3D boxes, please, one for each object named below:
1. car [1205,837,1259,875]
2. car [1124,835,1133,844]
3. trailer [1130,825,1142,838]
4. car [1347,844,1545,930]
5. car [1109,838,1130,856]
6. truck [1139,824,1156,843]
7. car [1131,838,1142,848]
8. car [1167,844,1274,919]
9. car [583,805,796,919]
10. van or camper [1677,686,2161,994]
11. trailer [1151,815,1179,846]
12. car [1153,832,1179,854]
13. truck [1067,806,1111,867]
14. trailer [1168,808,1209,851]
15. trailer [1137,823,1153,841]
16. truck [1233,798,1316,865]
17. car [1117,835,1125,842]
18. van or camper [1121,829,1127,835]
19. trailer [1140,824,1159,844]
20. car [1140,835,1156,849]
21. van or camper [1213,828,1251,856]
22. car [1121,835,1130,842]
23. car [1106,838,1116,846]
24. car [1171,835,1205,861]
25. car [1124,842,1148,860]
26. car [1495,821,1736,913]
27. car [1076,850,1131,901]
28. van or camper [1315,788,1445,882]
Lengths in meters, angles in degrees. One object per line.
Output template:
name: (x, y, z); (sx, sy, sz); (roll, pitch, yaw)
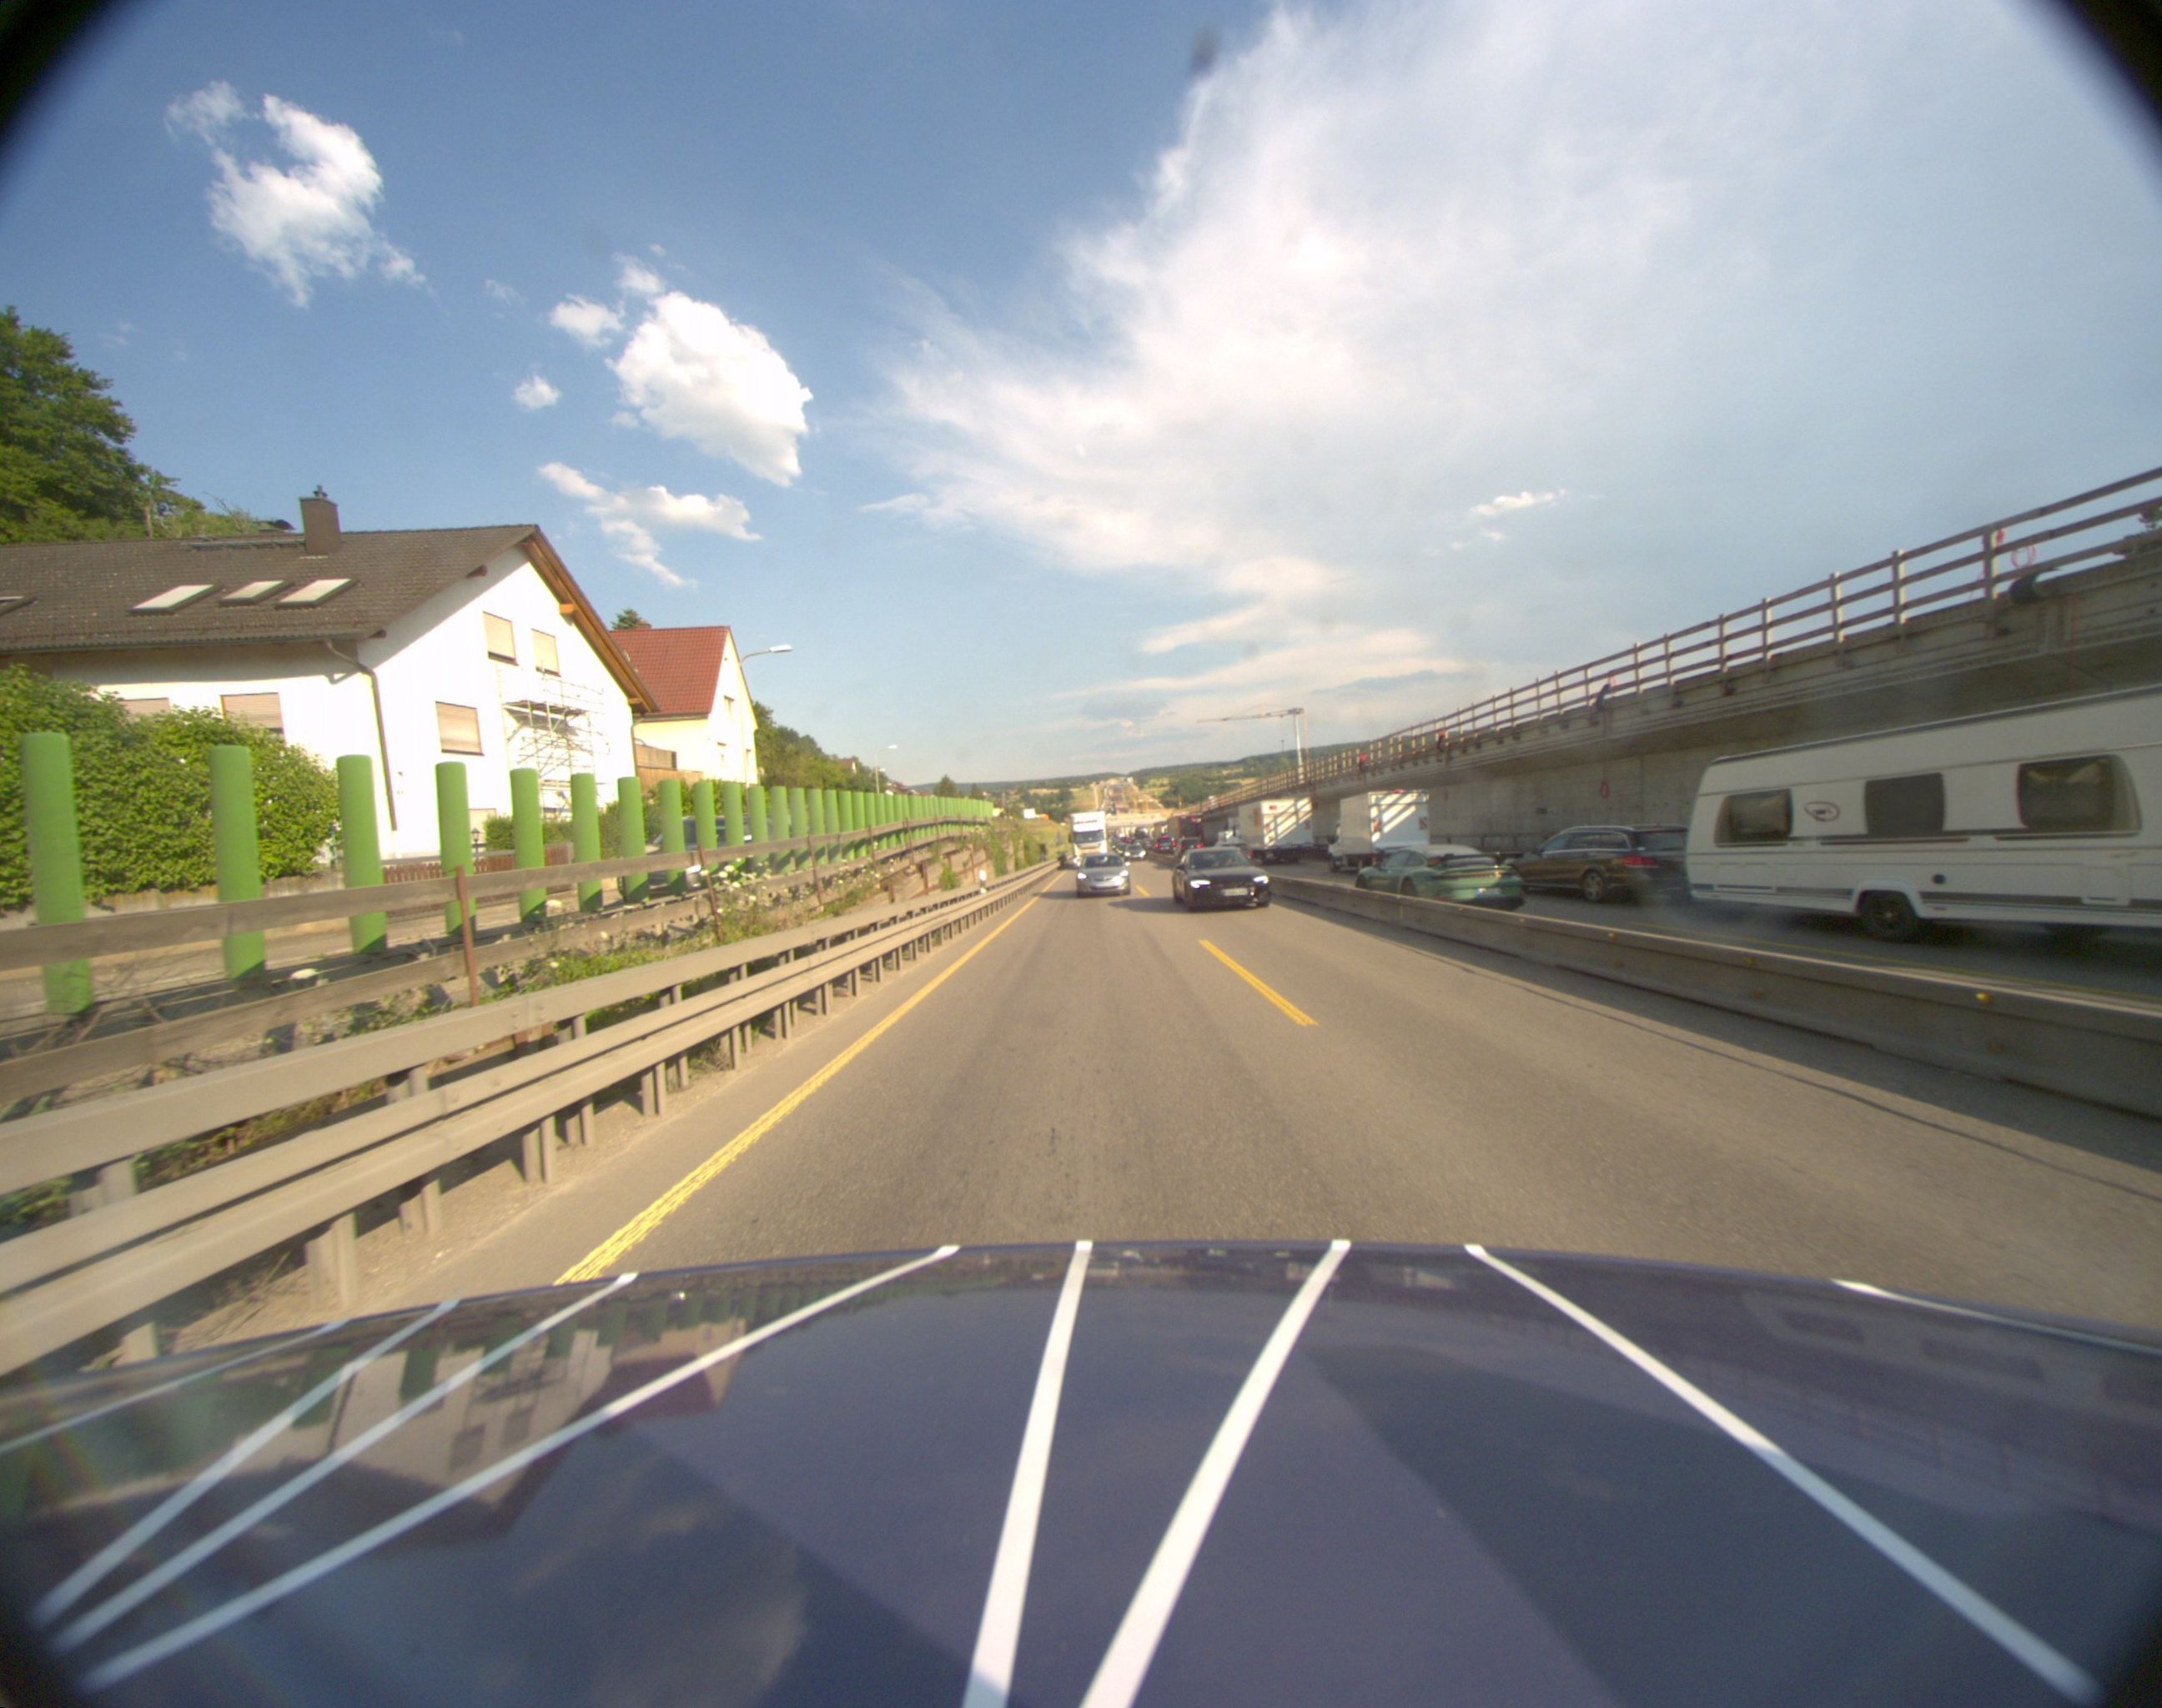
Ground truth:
car: (7.394, 0.046, 37.629); (1.746, 1.587, 4.556); (-5, 2, 1)
car: (9.467, -2.833, 151.472); (1.645, 1.636, 4.687); (-5, 2, 1)
trailer: (16.812, -6.932, 234.147); (2.659, 3.829, 13.439); (-5, 2, 2)
car: (6.795, 0.519, 14.709); (1.785, 1.317, 4.239); (-3, 1, 1)
car: (4.235, -0.792, 84.096); (1.998, 1.740, 3.999); (-4, 1, 0)
truck: (12.985, -4.010, 148.638); (2.555, 3.390, 5.530); (-5, 2, 2)
car: (9.600, -1.952, 131.263); (1.645, 1.451, 4.595); (-5, 2, 2)
car: (3.288, 0.574, 18.690); (1.872, 1.411, 4.348); (-4, 2, 2)
car: (-7.530, 0.112, 15.197); (1.887, 1.802, 4.246); (-5, 1, 0)
van or camper: (10.496, -0.206, 8.726); (2.317, 2.647, 6.454); (-2, 1, 2)
trailer: (12.617, -3.471, 114.887); (2.771, 4.117, 14.024); (-5, 1, 2)
car: (8.421, -1.126, 75.986); (1.990, 1.911, 5.290); (-5, 1, 1)
truck: (0.833, -1.447, 59.049); (2.741, 4.034, 12.668); (-5, 2, 2)
trailer: (11.960, -2.748, 85.733); (2.920, 4.216, 13.765); (-5, 2, 2)
trailer: (15.618, -5.446, 185.232); (2.778, 4.008, 15.759); (-5, 2, 2)
truck: (10.789, -1.299, 43.172); (2.721, 3.405, 8.138); (-2, 2, 1)
car: (10.267, -4.002, 195.932); (1.770, 1.543, 4.834); (-5, 2, -1)
van or camper: (14.634, -7.558, 258.219); (1.863, 2.002, 5.294); (-5, 2, 1)
trailer: (12.748, -3.819, 141.954); (2.563, 3.507, 10.679); (-5, 2, 2)
car: (9.265, -1.679, 105.125); (1.826, 1.762, 5.139); (-5, 2, 2)
van or camper: (11.439, -0.917, 57.926); (1.922, 1.911, 4.922); (-5, 1, 1)
car: (10.221, -3.583, 175.176); (1.729, 1.548, 4.296); (-5, 1, 2)
car: (6.501, -2.659, 166.351); (1.998, 1.696, 3.999); (-4, 1, 1)
car: (7.907, -0.476, 56.647); (1.836, 1.636, 4.687); (-5, 2, 1)
car: (4.654, -0.256, 64.443); (1.692, 1.294, 3.882); (-5, 2, 0)
car: (10.598, 0.177, 15.611); (1.645, 1.522, 4.783); (-3, 1, 1)
car: (0.776, 0.674, 25.899); (1.671, 1.425, 3.523); (-4, 2, 2)
van or camper: (10.829, -0.727, 28.204); (2.325, 2.972, 6.221); (-3, 2, 0)
